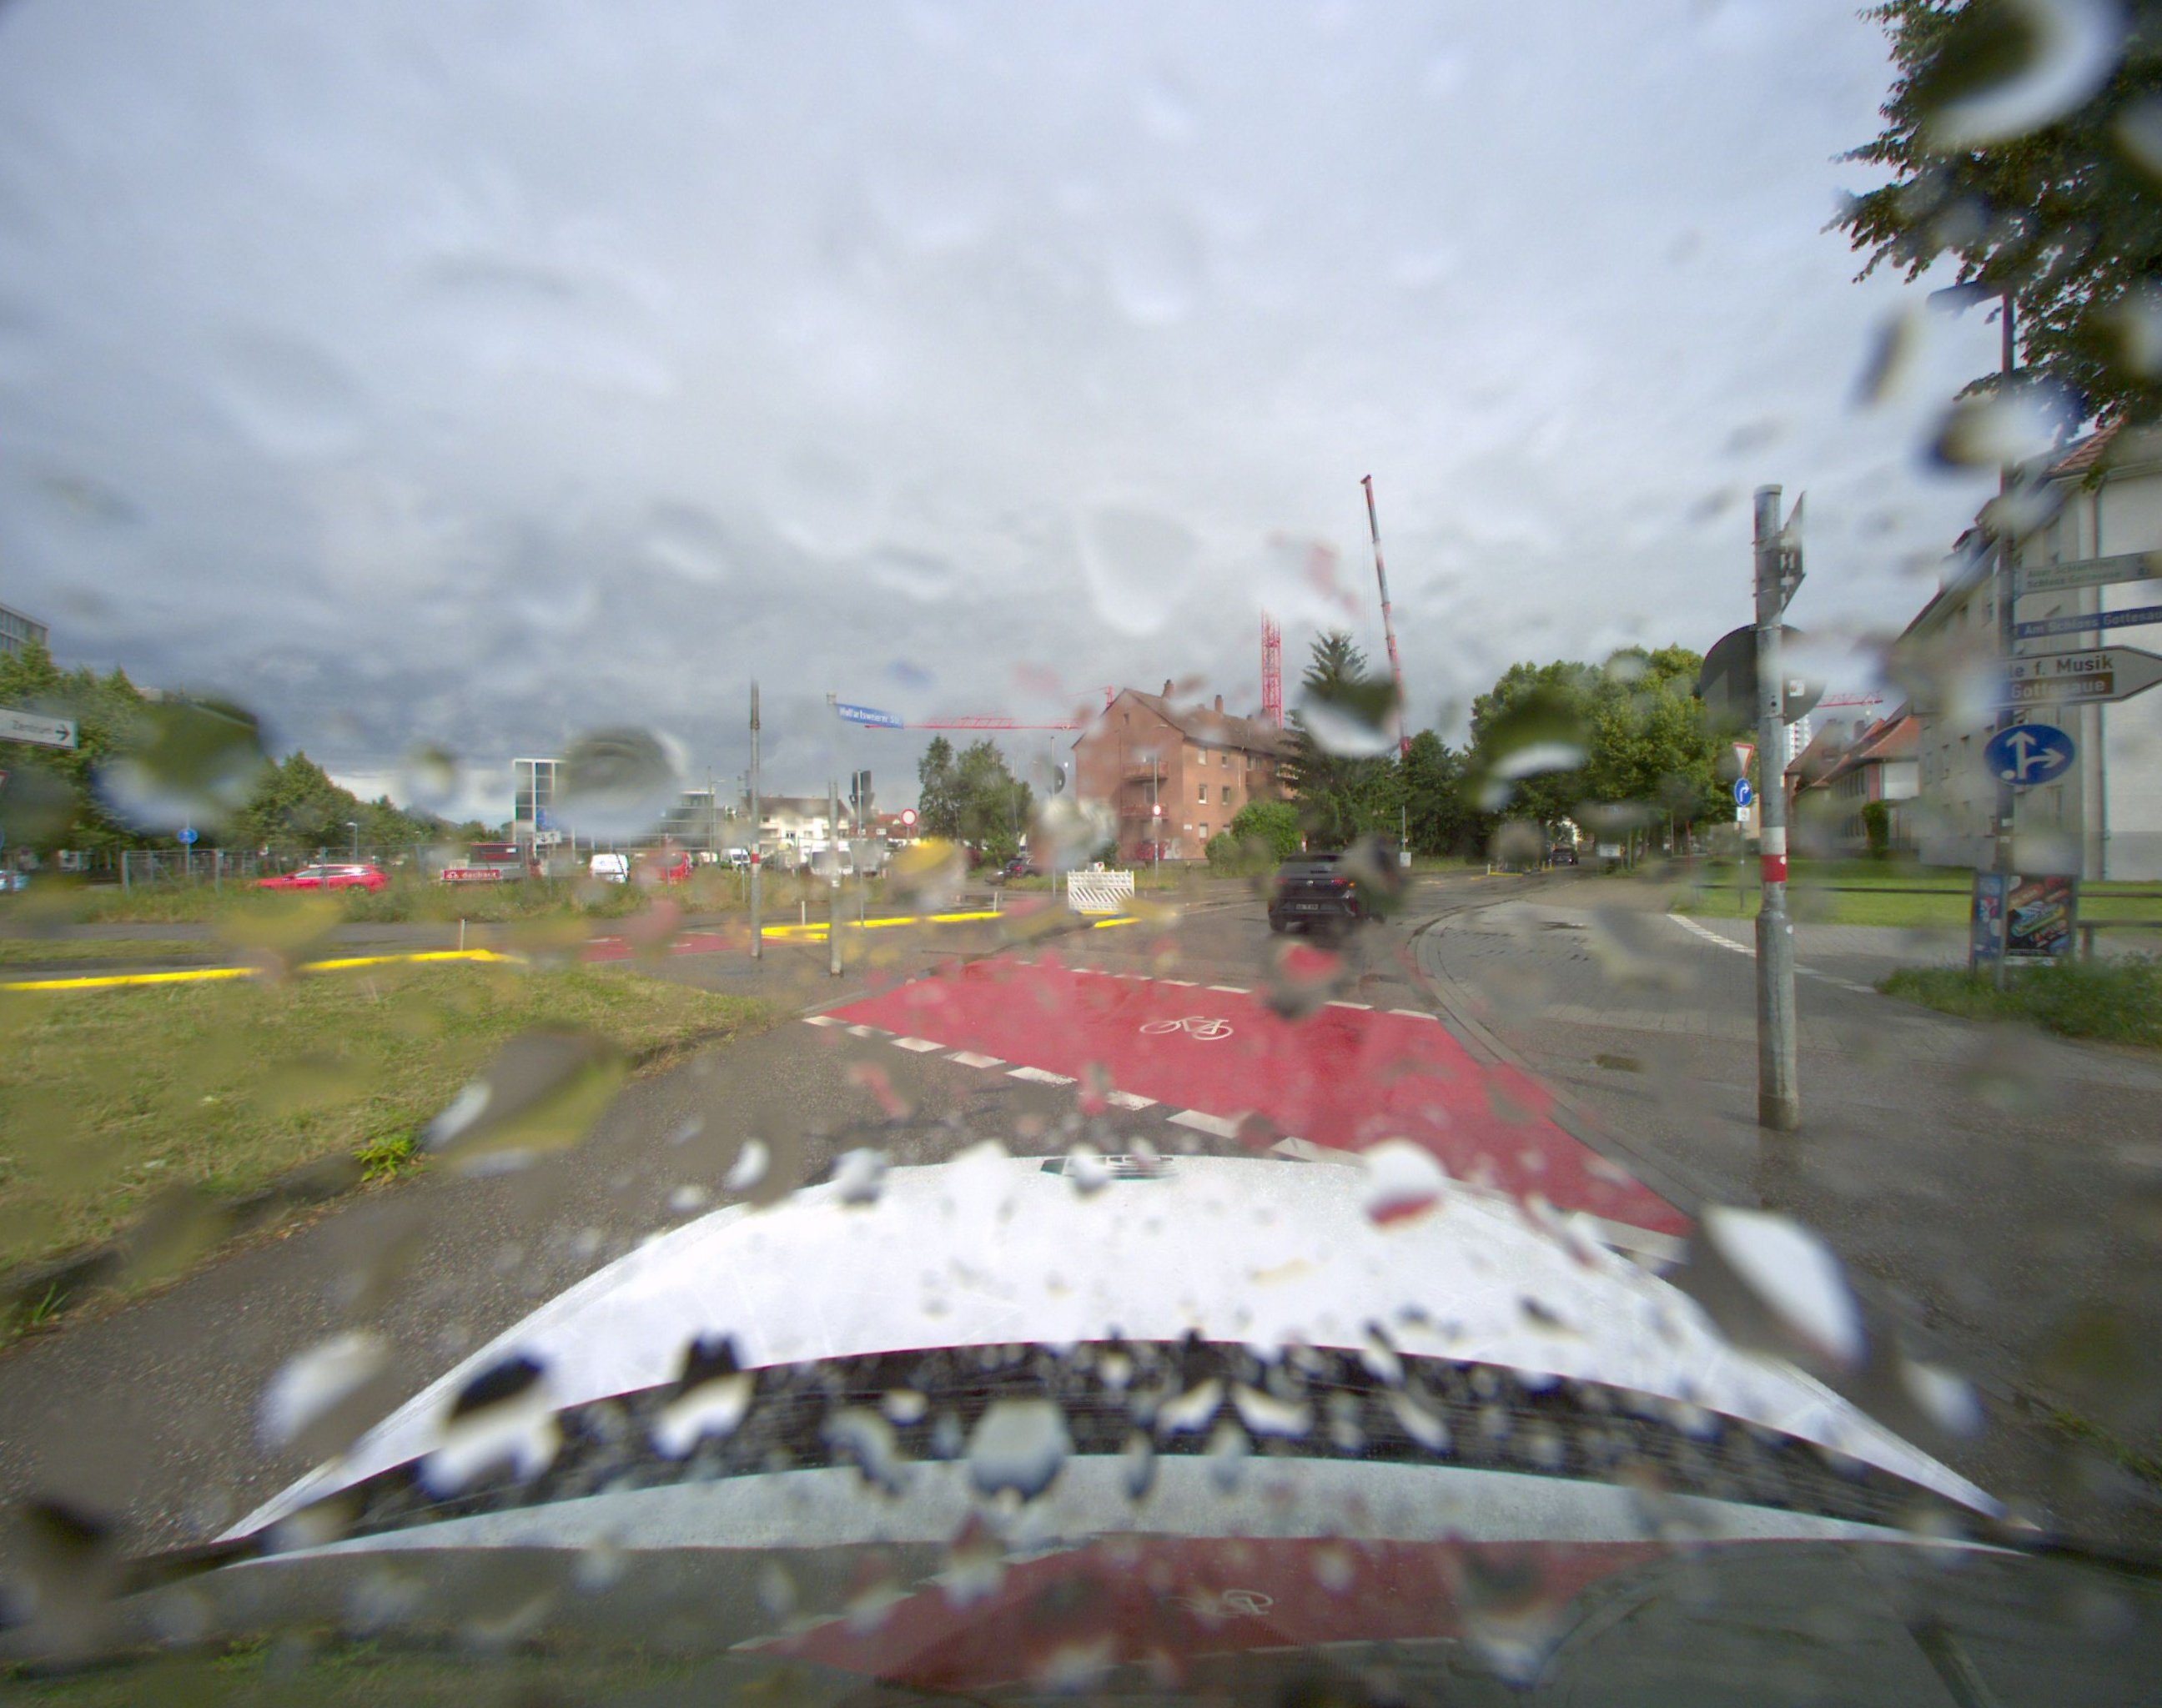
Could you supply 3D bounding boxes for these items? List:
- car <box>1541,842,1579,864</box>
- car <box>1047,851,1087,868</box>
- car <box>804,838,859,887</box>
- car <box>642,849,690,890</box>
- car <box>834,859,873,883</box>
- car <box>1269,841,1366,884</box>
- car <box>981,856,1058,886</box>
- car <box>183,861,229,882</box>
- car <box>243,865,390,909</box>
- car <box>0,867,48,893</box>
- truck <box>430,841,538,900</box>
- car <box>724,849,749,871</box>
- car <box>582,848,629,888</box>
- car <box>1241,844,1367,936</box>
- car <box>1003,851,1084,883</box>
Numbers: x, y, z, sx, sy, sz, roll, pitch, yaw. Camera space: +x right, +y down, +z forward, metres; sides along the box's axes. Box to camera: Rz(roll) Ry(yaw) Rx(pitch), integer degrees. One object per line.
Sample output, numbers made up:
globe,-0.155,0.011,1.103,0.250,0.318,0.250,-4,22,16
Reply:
car,40.305,-0.113,68.440,2.055,1.732,4.728,2,2,38
car,-1.229,0.504,74.047,3.495,1.519,1.618,-1,0,3
car,-12.356,0.326,40.002,2.045,2.084,6.220,0,2,-22
car,-19.449,0.687,38.166,1.934,1.700,3.965,0,2,-28
car,-21.165,1.544,75.743,2.010,2.123,3.953,-1,0,-40
car,10.499,0.322,35.912,4.726,1.732,2.056,-1,2,-45
car,-3.485,0.936,46.139,4.058,1.632,1.606,-1,0,-20
car,-88.397,1.712,82.365,2.005,2.014,3.963,0,0,-29
car,-31.573,1.303,33.829,4.210,1.510,1.838,-2,3,-35
car,-65.689,1.578,50.225,1.506,1.510,3.461,1,-1,-36
truck,-25.474,0.596,35.044,2.400,2.211,6.055,0,2,-23
car,-37.066,0.621,87.642,2.383,2.084,4.934,0,2,-22
car,-23.037,0.618,39.387,1.864,1.700,3.960,-1,2,-32
car,4.602,0.612,16.391,1.880,1.617,4.022,0,0,23
car,-2.030,0.673,43.718,4.058,1.632,1.606,-1,0,-20
